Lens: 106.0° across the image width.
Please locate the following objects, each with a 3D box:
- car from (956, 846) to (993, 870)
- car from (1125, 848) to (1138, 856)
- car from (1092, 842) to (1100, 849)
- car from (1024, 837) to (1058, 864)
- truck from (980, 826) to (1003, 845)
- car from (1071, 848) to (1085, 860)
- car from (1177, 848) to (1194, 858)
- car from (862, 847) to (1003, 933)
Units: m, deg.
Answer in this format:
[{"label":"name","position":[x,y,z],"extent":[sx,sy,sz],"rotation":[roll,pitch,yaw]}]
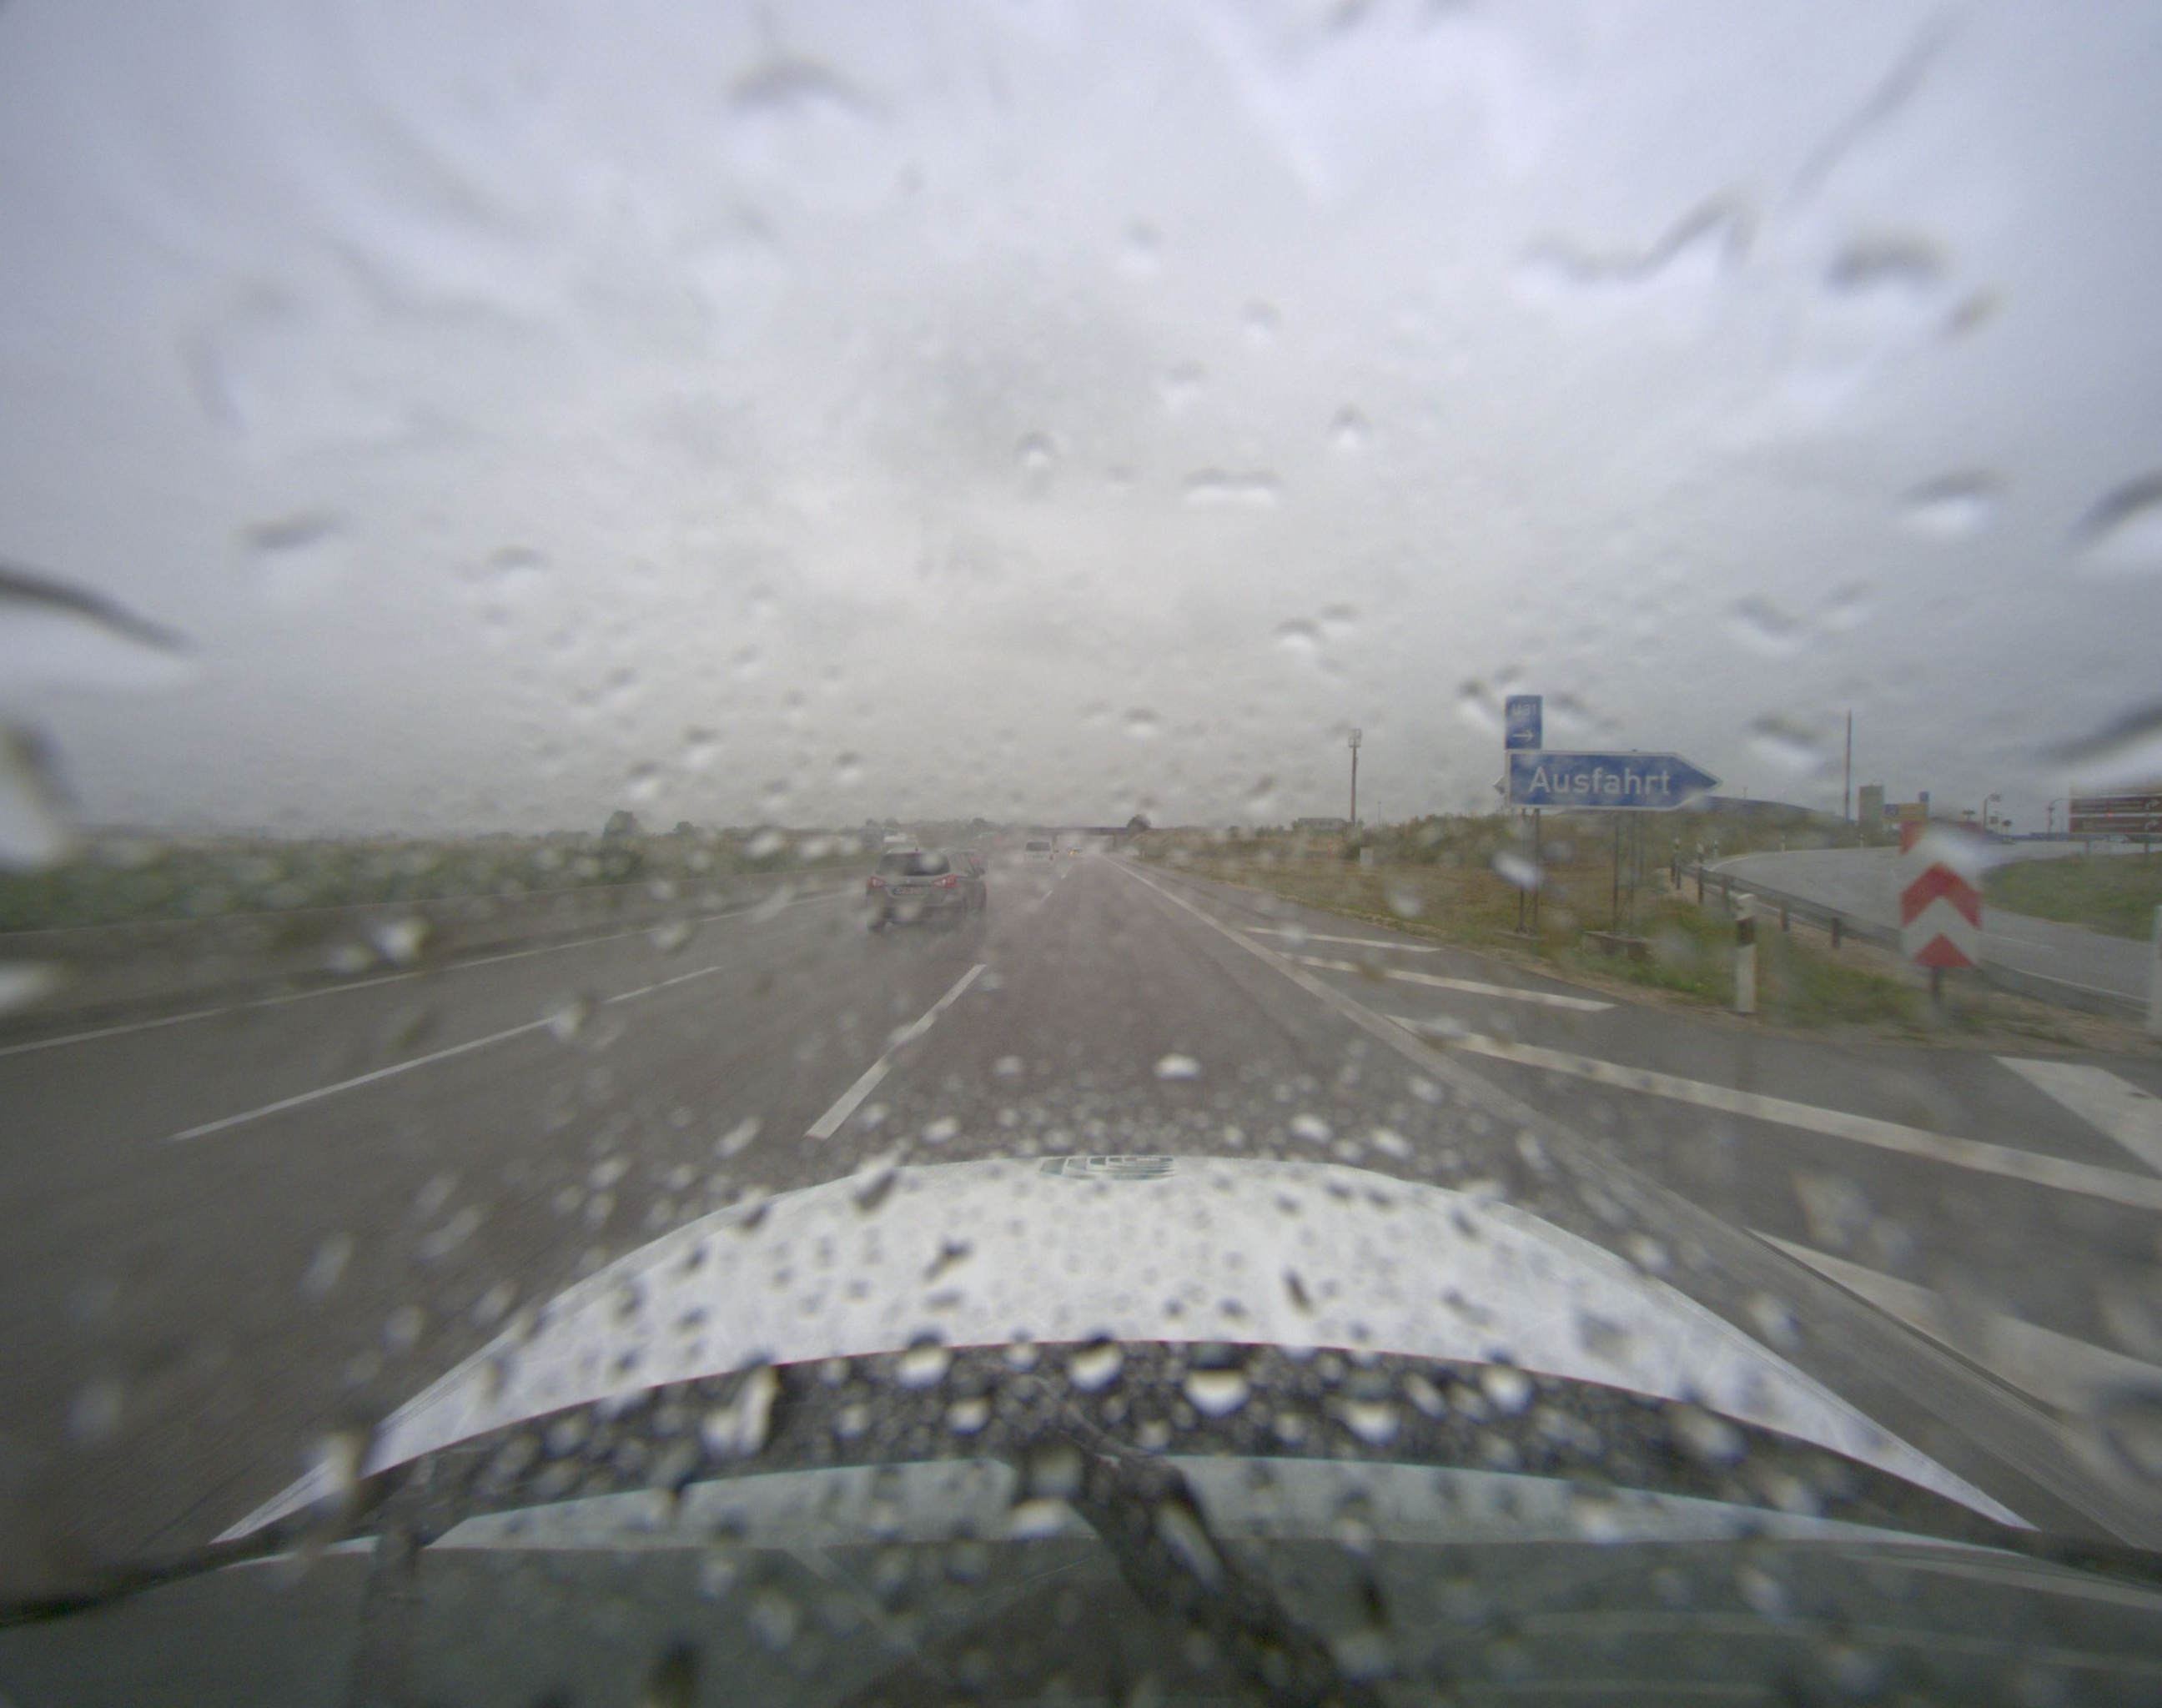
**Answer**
[{"label":"car","position":[-6.182,0.198,47.673],"extent":[1.607,1.354,4.000],"rotation":[1,0,1]},{"label":"car","position":[8.151,-0.343,131.614],"extent":[1.986,1.266,4.002],"rotation":[0,0,2]},{"label":"car","position":[4.249,-2.510,233.536],"extent":[1.989,2.101,3.996],"rotation":[0,1,-3]},{"label":"car","position":[-2.408,-0.212,49.936],"extent":[1.891,1.585,4.000],"rotation":[0,0,0]},{"label":"truck","position":[-17.225,-3.539,157.912],"extent":[3.255,3.441,10.129],"rotation":[-1,1,0]},{"label":"car","position":[-0.294,0.014,86.705],"extent":[1.462,1.208,2.992],"rotation":[0,0,1]},{"label":"car","position":[14.467,-0.157,112.388],"extent":[1.728,1.421,3.654],"rotation":[0,1,-3]},{"label":"car","position":[-2.868,0.630,16.872],"extent":[1.839,1.513,4.760],"rotation":[-1,0,2]}]
